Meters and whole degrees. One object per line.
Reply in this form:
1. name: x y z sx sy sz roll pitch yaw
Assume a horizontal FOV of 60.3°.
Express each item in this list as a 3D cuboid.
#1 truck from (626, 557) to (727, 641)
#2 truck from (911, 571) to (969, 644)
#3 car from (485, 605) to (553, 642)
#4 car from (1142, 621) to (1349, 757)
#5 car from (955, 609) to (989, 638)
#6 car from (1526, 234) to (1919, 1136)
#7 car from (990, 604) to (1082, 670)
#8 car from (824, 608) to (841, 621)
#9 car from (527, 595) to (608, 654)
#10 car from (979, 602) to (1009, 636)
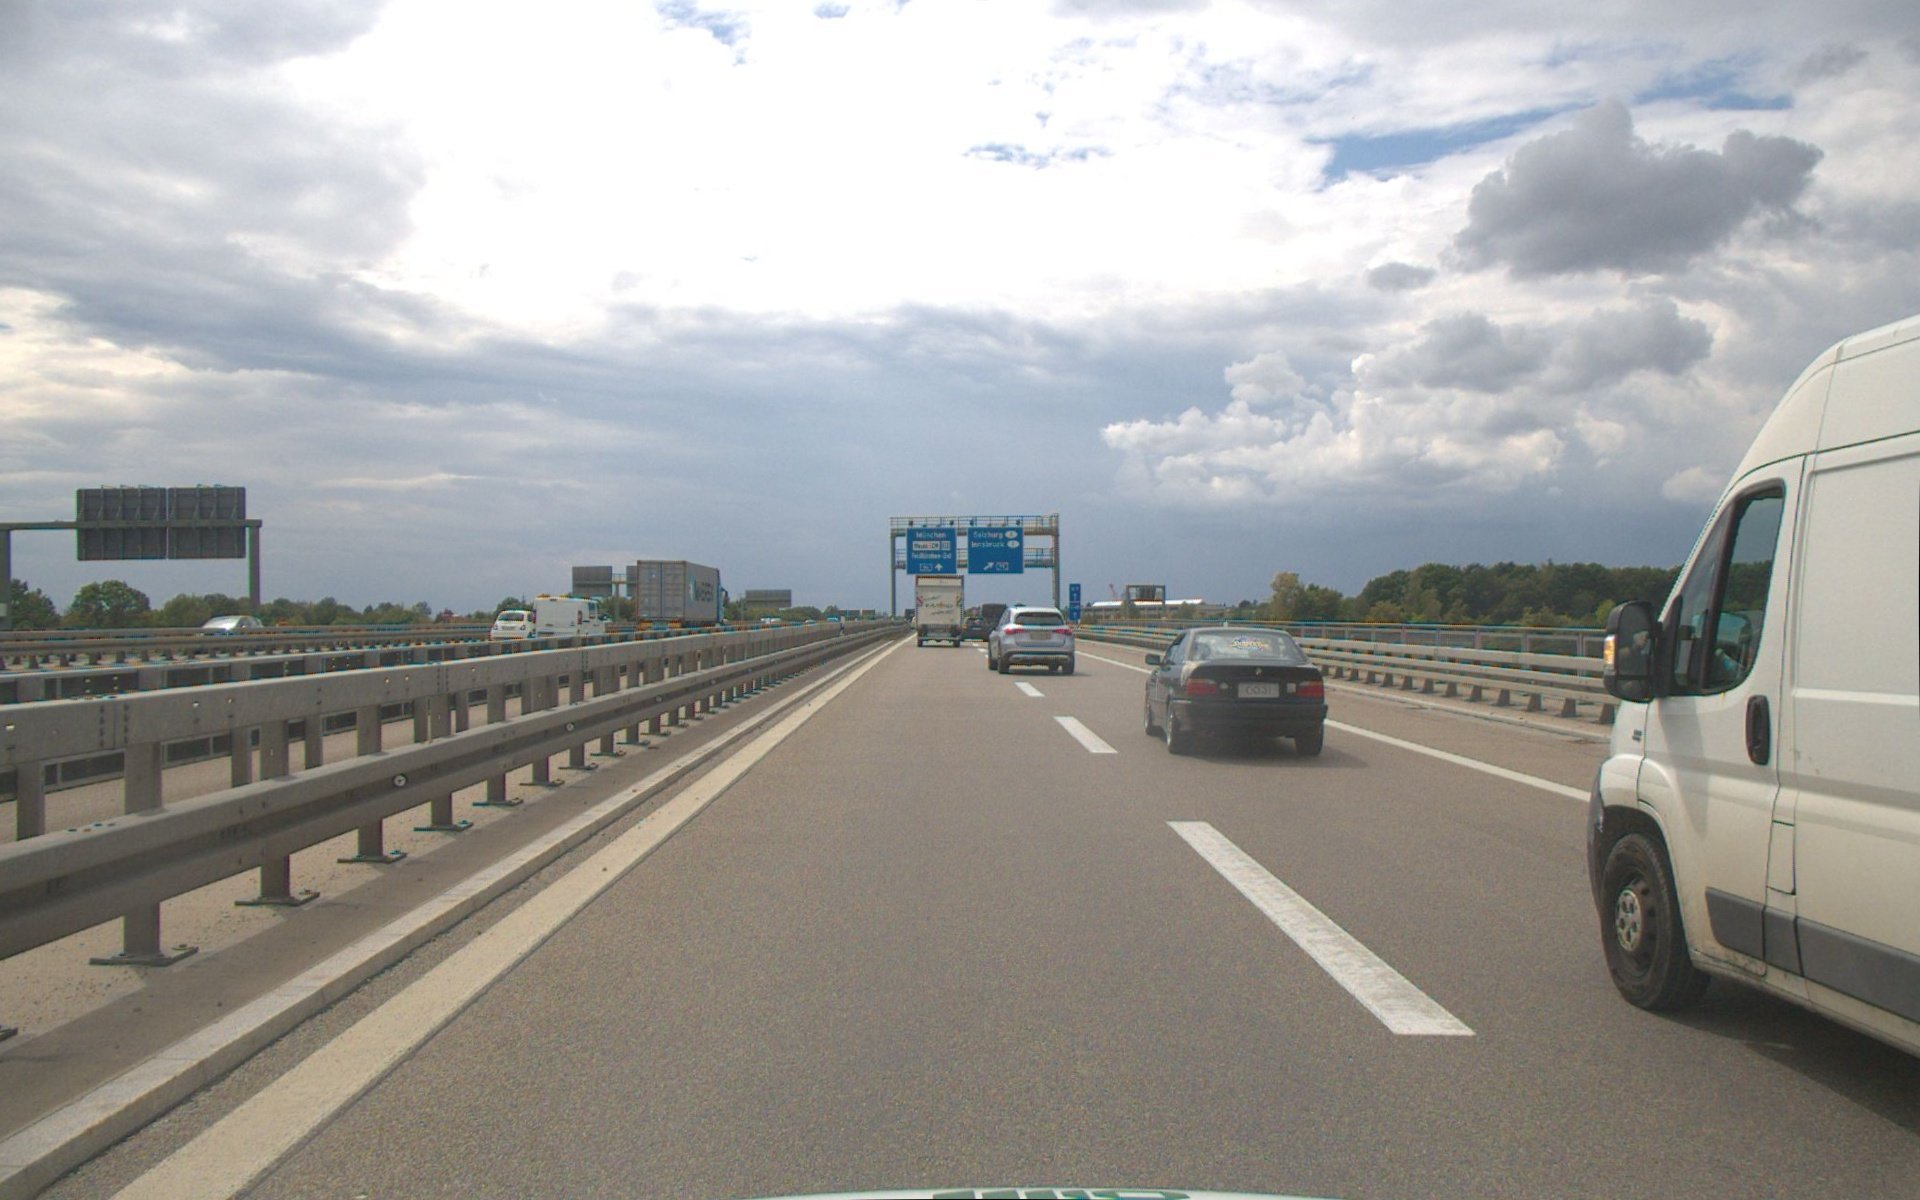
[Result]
1. truck: -14.966 -0.060 88.797 3.119 4.089 16.068 1 0 -2
2. truck: -0.933 0.419 77.096 2.517 3.181 8.631 1 -1 -1
3. car: -18.559 0.969 69.749 1.760 1.444 4.000 1 0 1
4. car: 3.135 0.926 18.961 1.669 1.303 4.366 1 0 1
5. car: 0.680 1.309 94.950 1.846 1.579 3.999 1 0 -1
6. car: 3.697 0.241 4.495 2.071 2.497 6.150 1 0 -1
7. car: 1.855 0.888 41.566 1.784 1.541 3.996 1 0 -5
8. car: -15.922 1.761 205.983 1.790 1.590 4.000 0 0 0
9. car: -14.381 0.861 60.777 1.953 2.049 4.373 1 0 -1
10. car: 2.354 1.274 114.391 1.868 2.301 4.648 1 0 -1
